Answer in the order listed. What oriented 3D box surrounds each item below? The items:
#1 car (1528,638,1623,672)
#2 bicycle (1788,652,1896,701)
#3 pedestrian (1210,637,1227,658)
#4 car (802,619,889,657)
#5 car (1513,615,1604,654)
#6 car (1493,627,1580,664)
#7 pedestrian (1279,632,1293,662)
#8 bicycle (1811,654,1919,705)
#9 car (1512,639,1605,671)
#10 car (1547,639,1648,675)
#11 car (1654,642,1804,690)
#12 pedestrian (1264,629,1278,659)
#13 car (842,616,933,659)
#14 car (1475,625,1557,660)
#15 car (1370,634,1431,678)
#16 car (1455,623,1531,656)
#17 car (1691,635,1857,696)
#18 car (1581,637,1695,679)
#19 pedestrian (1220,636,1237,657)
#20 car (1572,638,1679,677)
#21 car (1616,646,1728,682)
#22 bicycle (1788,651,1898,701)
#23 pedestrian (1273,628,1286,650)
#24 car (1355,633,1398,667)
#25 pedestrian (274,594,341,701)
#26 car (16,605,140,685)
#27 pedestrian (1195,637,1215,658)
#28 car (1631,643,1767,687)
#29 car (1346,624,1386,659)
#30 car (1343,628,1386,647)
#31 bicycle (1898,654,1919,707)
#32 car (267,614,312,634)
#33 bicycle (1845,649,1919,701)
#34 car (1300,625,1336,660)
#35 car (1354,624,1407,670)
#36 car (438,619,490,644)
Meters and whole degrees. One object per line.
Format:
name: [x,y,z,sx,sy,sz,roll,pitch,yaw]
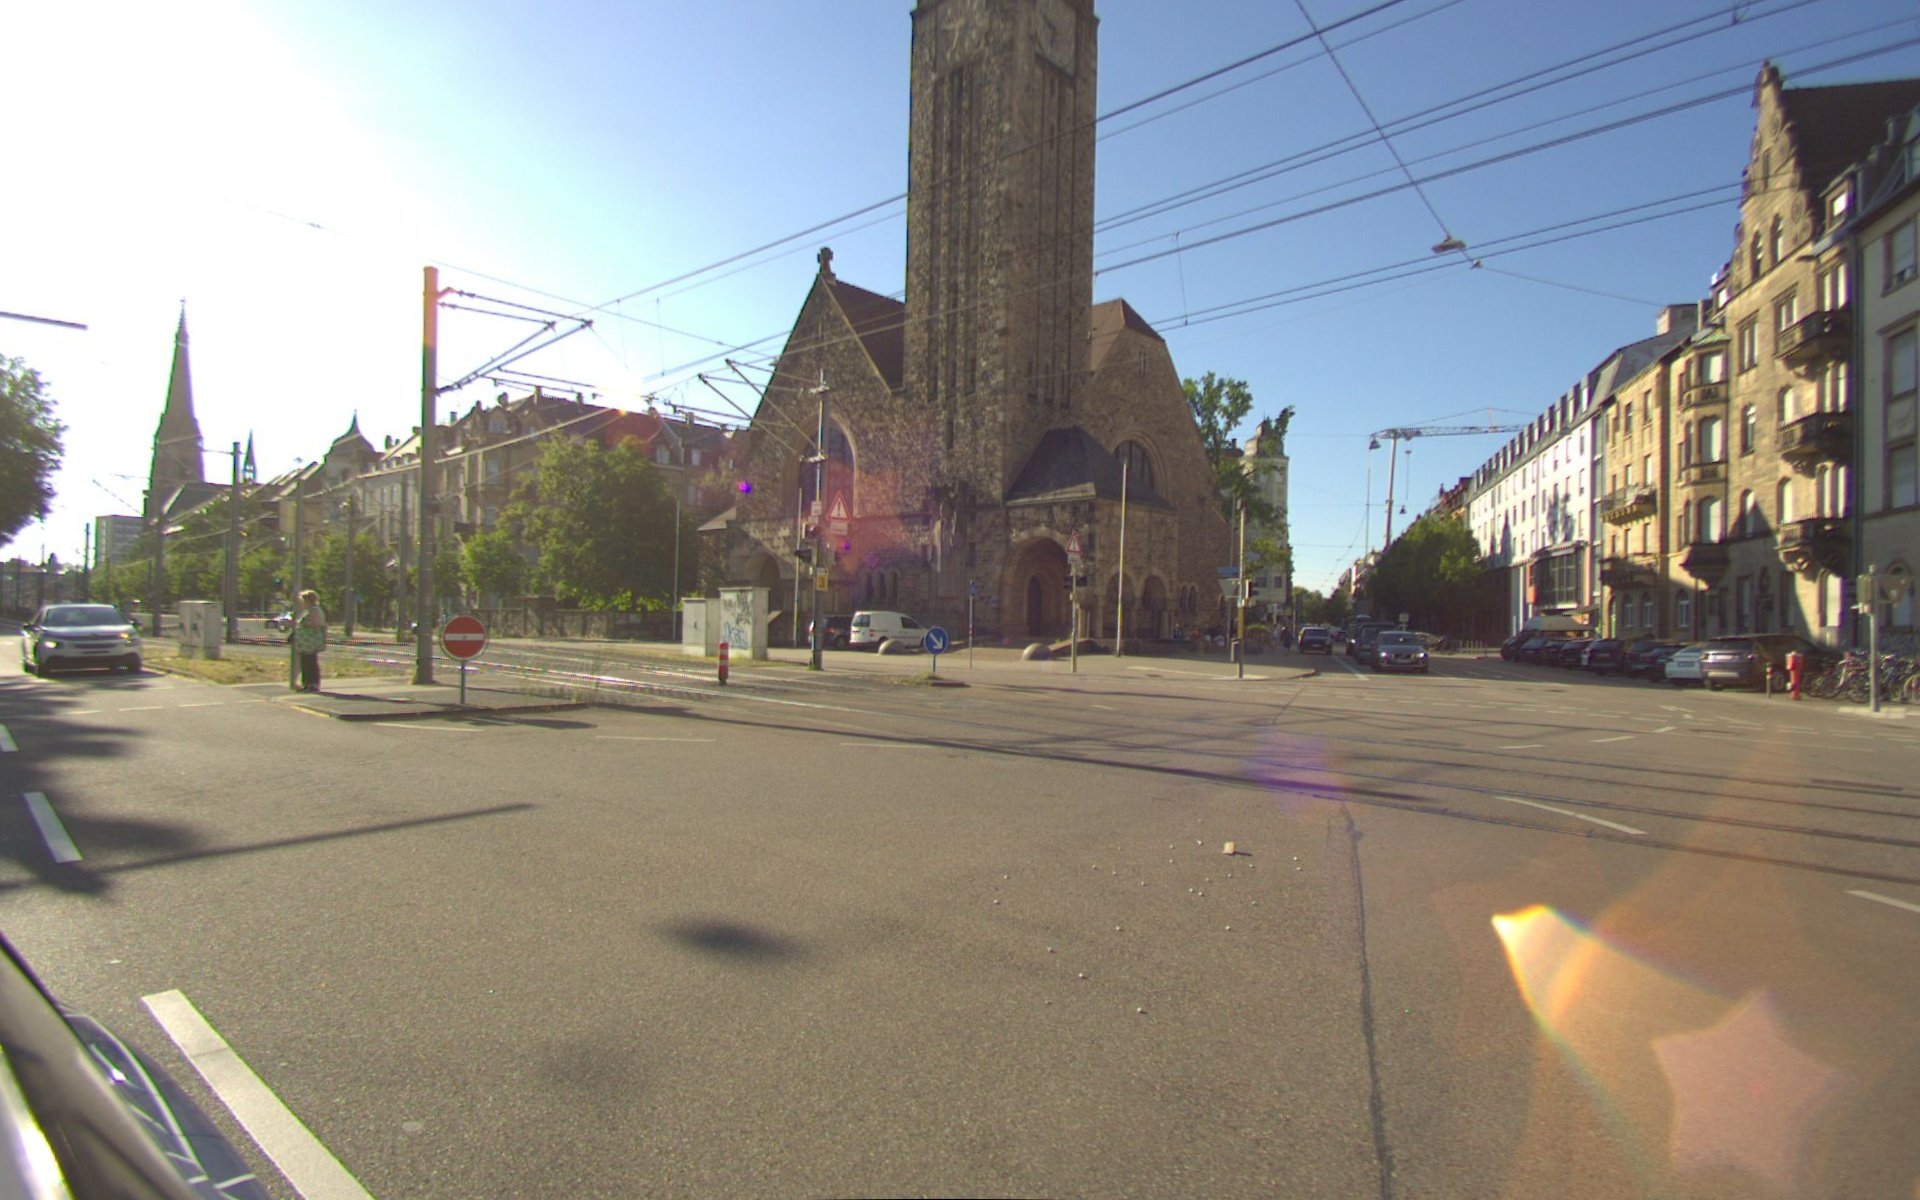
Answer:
car: [30.185,2.714,49.660,3.931,1.532,1.854,-1,-4,-21]
bicycle: [23.415,2.023,26.909,2.110,1.200,0.525,0,0,19]
pedestrian: [14.870,2.704,58.147,0.641,1.136,0.702,-2,2,-30]
car: [-5.492,1.809,48.826,1.769,1.642,3.986,0,0,44]
car: [32.388,1.879,54.778,3.934,1.918,1.790,-1,-4,-11]
car: [32.461,2.594,57.024,3.934,1.918,1.790,-1,-4,-11]
pedestrian: [18.225,2.639,56.602,0.650,1.633,0.463,0,0,33]
bicycle: [22.796,1.976,25.414,2.108,1.200,0.550,0,0,17]
car: [30.814,2.839,52.171,3.932,1.532,1.854,-1,-4,-17]
car: [29.465,2.638,46.778,3.931,1.532,1.854,-1,-4,-21]
car: [24.977,2.129,32.895,3.931,1.366,2.006,-1,-4,-21]
pedestrian: [17.507,2.453,57.005,0.650,1.633,0.463,0,2,33]
car: [-3.332,1.678,46.894,1.871,1.819,3.970,0,0,44]
car: [33.160,2.570,60.348,3.934,1.918,1.790,-1,-4,-11]
car: [16.969,2.127,39.104,1.828,1.430,4.258,0,0,19]
car: [34.134,2.538,64.861,3.934,1.918,1.790,-1,-4,-11]
car: [24.018,1.928,29.894,3.931,1.597,2.006,-1,-4,-21]
car: [27.704,2.374,41.353,3.931,1.532,1.854,-1,-4,-21]
pedestrian: [15.526,2.700,58.457,0.641,1.136,0.702,-2,2,-37]
car: [29.140,2.509,44.319,3.931,1.532,1.854,-1,-4,-21]
car: [27.206,2.436,38.670,3.725,1.220,1.595,-1,-4,-21]
bicycle: [22.901,1.960,26.286,2.108,1.200,0.526,0,0,17]
pedestrian: [25.227,3.074,79.875,0.918,1.633,0.851,0,0,18]
car: [21.773,2.598,53.030,1.828,1.514,4.313,0,0,19]
pedestrian: [-10.343,0.726,16.045,0.925,1.633,0.670,0,0,41]
car: [-18.859,0.880,21.579,4.000,1.511,1.614,0,0,43]
pedestrian: [14.030,2.709,57.914,0.753,1.136,0.786,-2,2,-21]
car: [26.173,2.292,35.876,3.931,1.366,2.006,-1,-4,-21]
car: [24.136,2.420,60.260,1.985,1.882,4.878,0,0,19]
car: [44.698,4.122,111.812,3.934,1.918,1.790,-1,-4,-11]
bicycle: [23.361,1.891,23.632,2.108,1.200,0.526,0,0,17]
car: [-52.820,1.912,79.669,4.555,1.438,1.971,0,-3,44]
bicycle: [22.862,1.819,24.500,2.108,1.200,0.526,0,0,17]
car: [21.891,2.538,61.922,1.985,1.882,4.878,0,0,19]
car: [19.487,2.150,47.026,1.985,1.882,4.460,0,0,19]
car: [-32.748,2.064,66.799,4.215,1.541,1.762,0,0,44]
